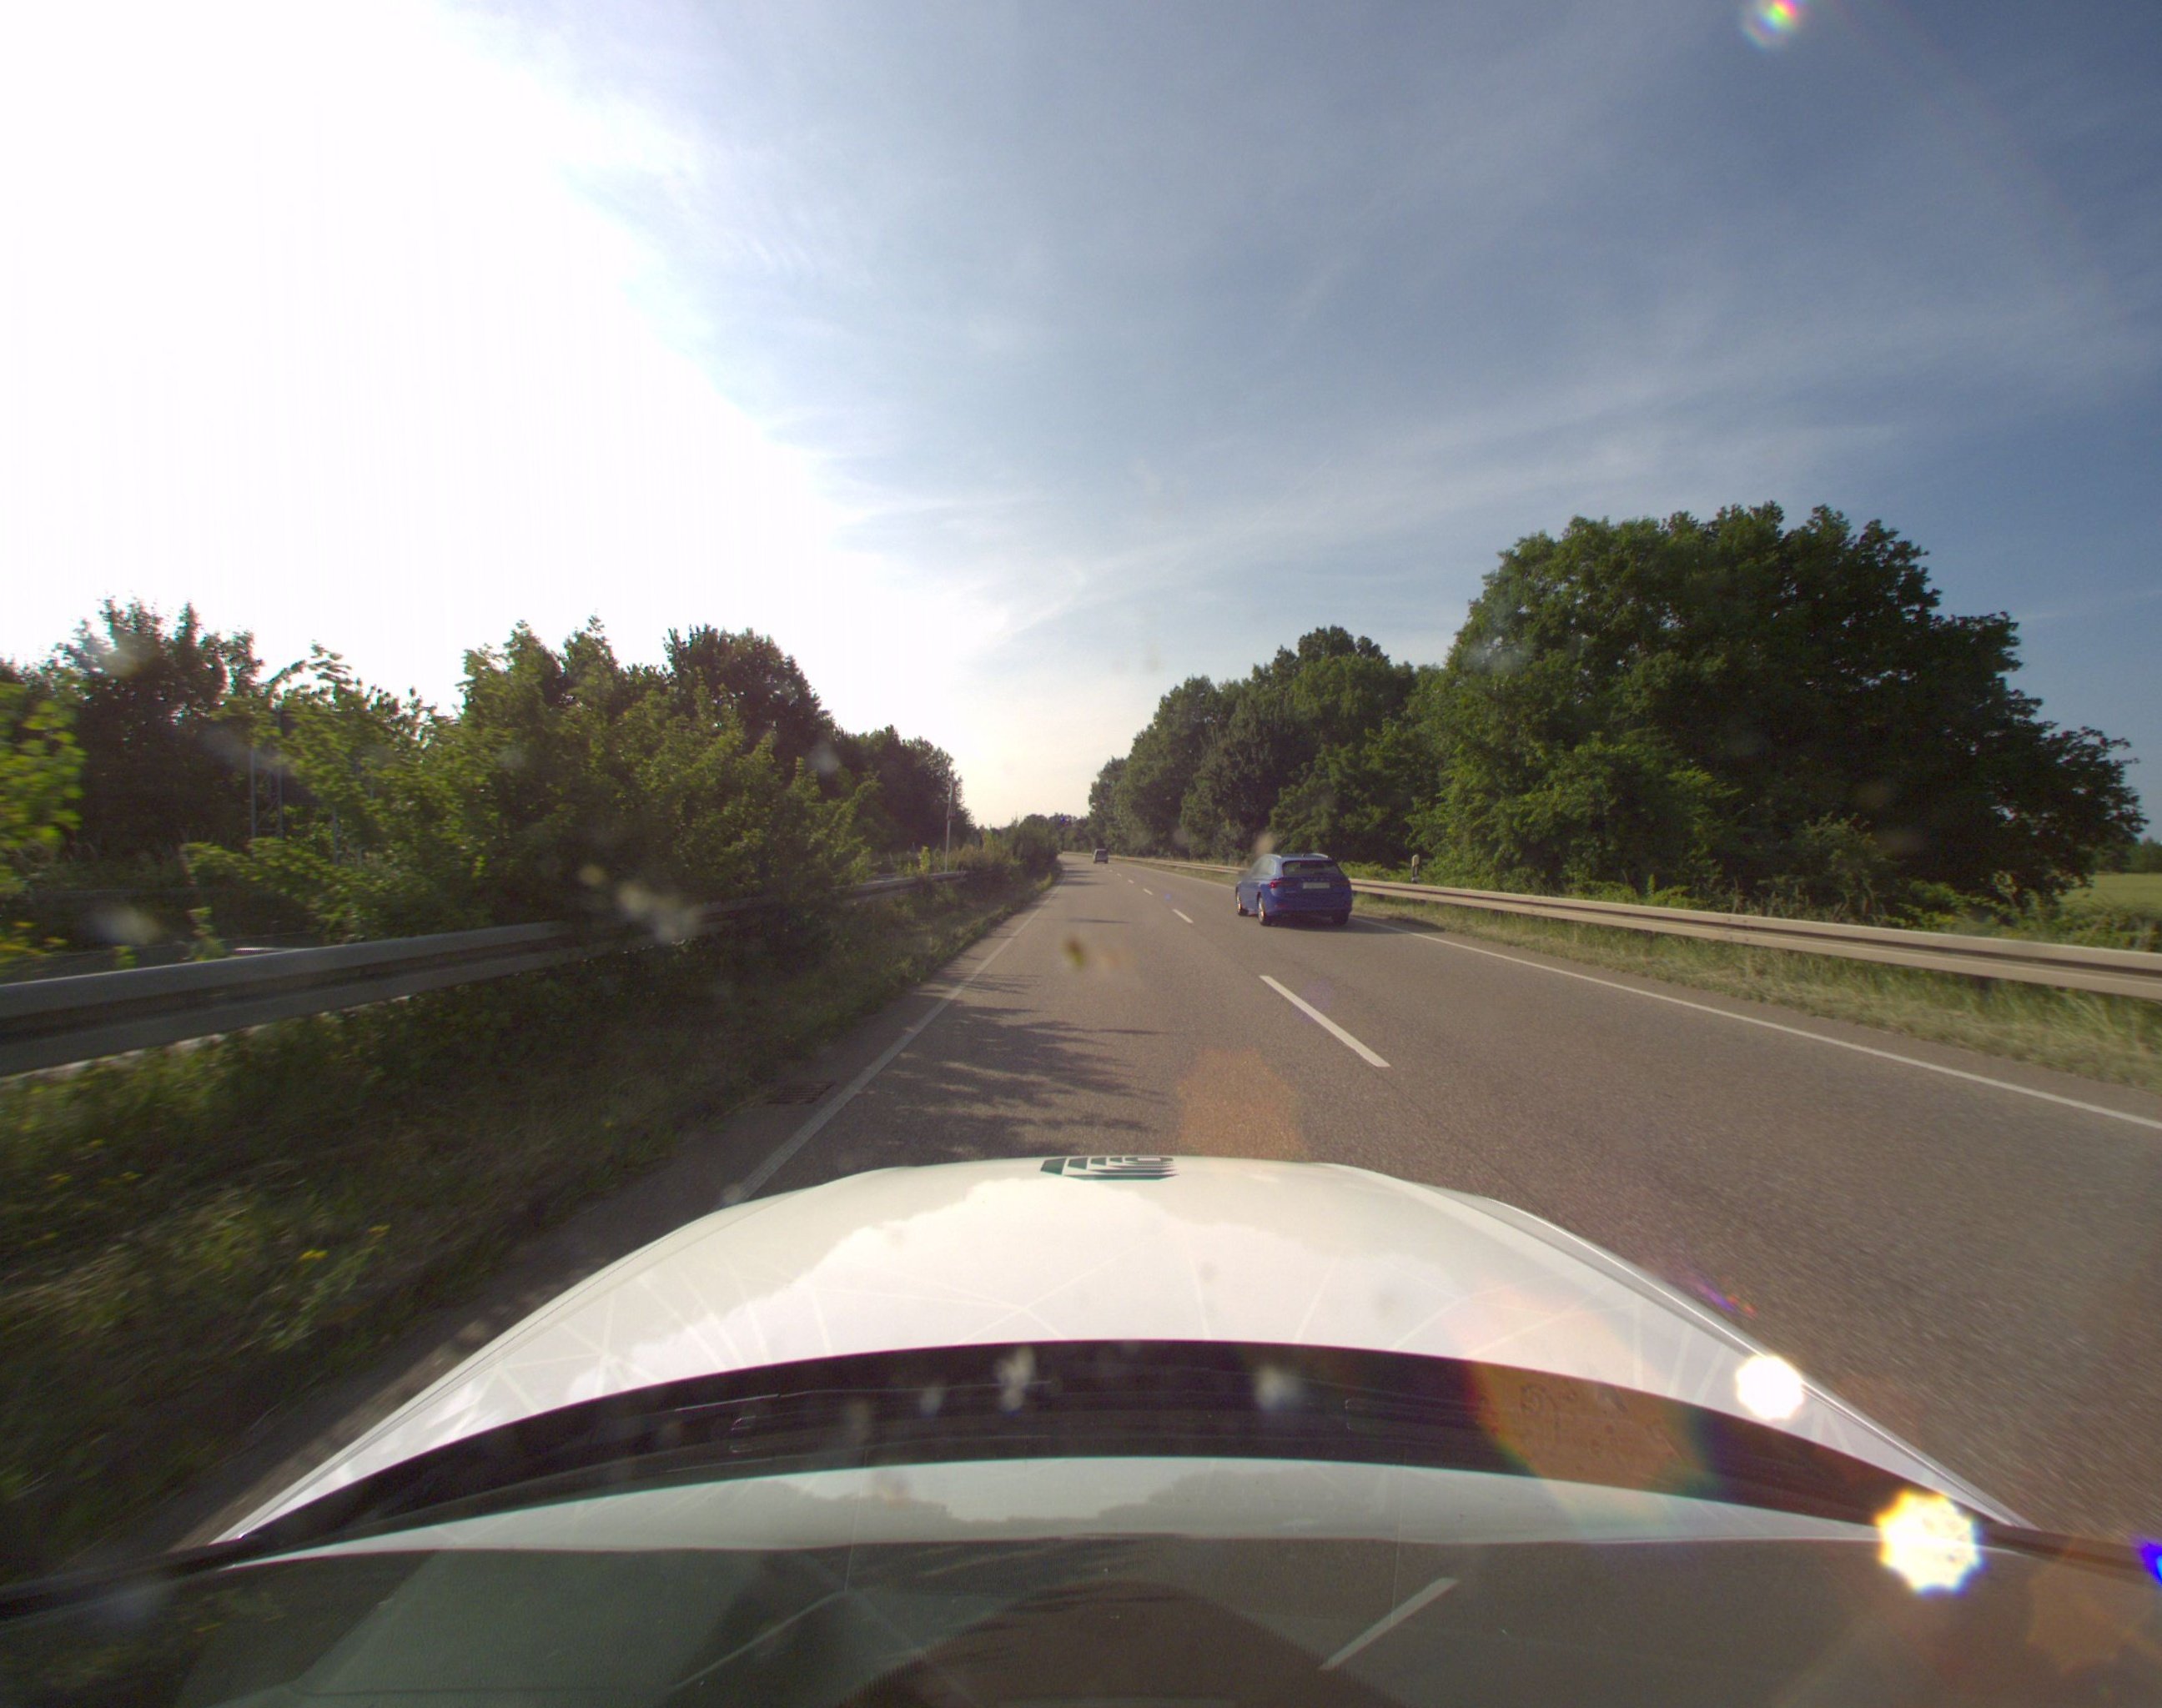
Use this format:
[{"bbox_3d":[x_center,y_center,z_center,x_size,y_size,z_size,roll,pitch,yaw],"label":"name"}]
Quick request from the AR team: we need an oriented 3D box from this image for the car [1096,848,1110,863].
[{"bbox_3d":[2.784,0.158,104.938,1.760,1.881,4.000,-1,1,0],"label":"car"}]

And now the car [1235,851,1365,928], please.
[{"bbox_3d":[4.545,0.667,17.510,1.773,1.451,4.000,-1,0,1],"label":"car"}]

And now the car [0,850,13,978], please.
[{"bbox_3d":[-12.825,0.663,6.597,1.767,1.386,4.838,0,0,5],"label":"car"}]
